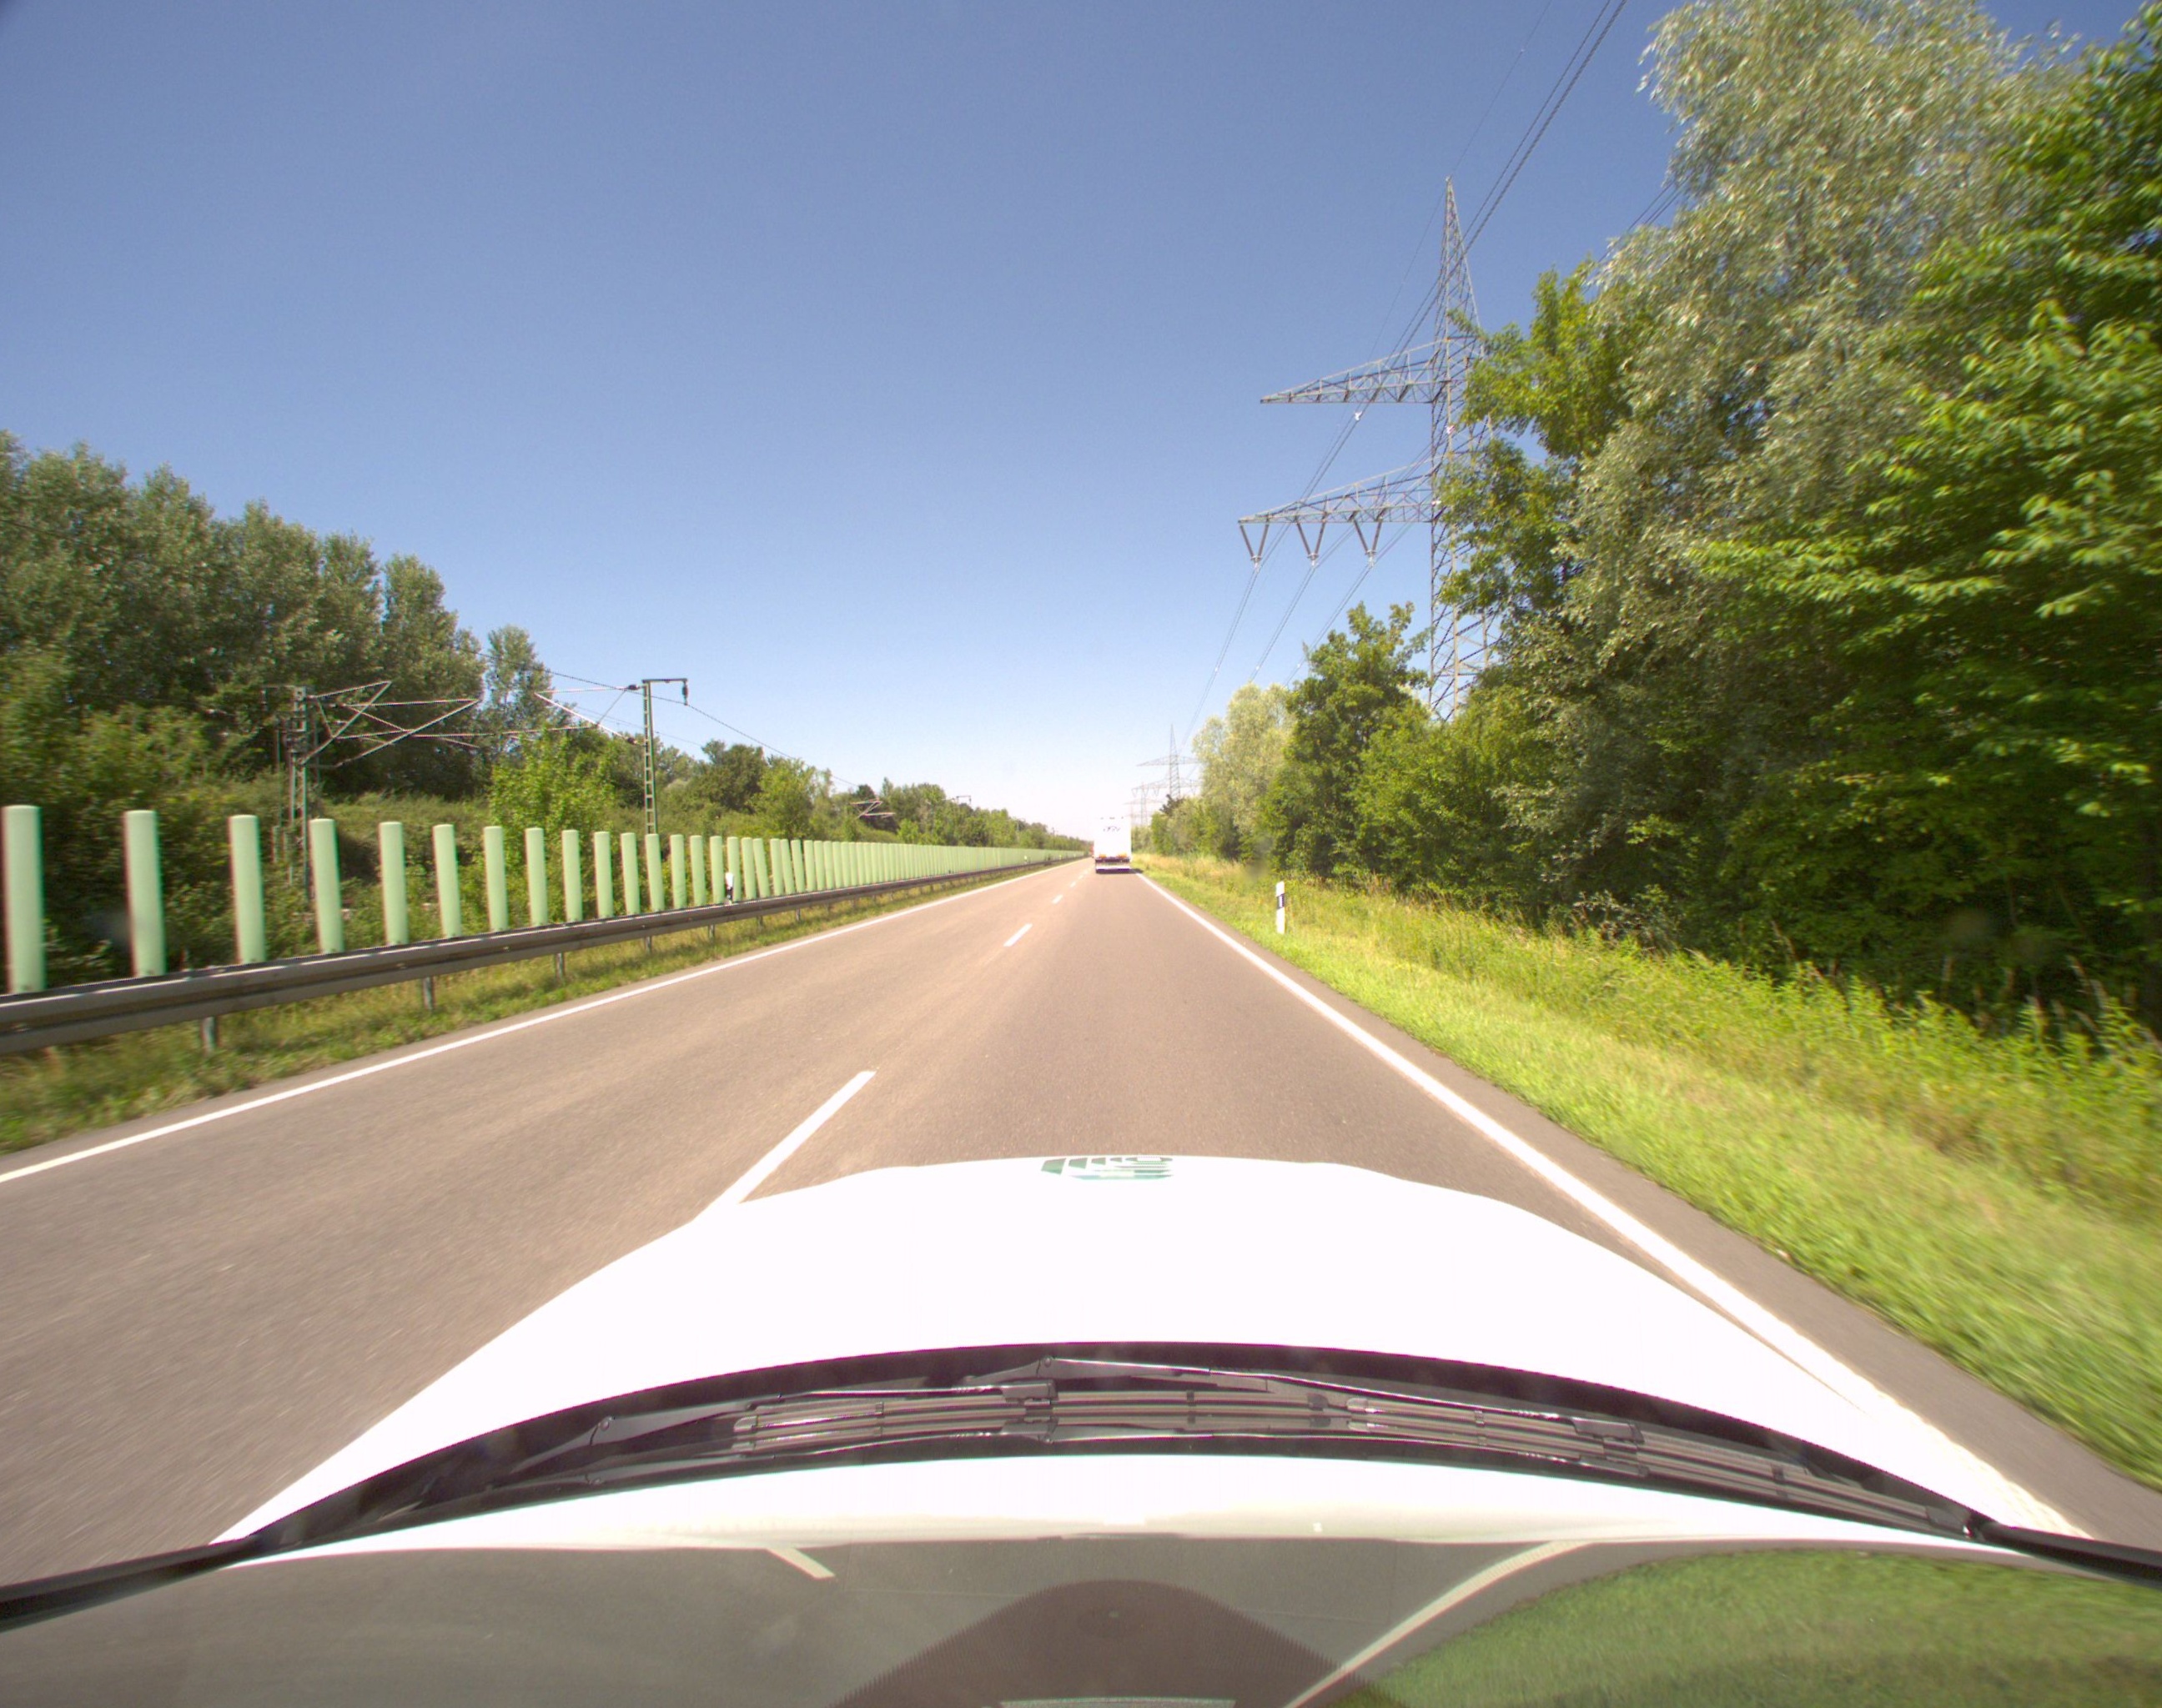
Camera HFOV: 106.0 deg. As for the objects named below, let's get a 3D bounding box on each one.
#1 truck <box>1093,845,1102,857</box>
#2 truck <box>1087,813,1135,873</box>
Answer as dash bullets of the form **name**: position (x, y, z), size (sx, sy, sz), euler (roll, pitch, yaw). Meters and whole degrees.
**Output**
- **truck**: position (5.311, -0.861, 256.567), size (2.724, 3.599, 9.529), euler (-1, 0, 1)
- **truck**: position (2.209, -0.796, 62.238), size (3.180, 4.042, 12.010), euler (-1, 0, 1)
